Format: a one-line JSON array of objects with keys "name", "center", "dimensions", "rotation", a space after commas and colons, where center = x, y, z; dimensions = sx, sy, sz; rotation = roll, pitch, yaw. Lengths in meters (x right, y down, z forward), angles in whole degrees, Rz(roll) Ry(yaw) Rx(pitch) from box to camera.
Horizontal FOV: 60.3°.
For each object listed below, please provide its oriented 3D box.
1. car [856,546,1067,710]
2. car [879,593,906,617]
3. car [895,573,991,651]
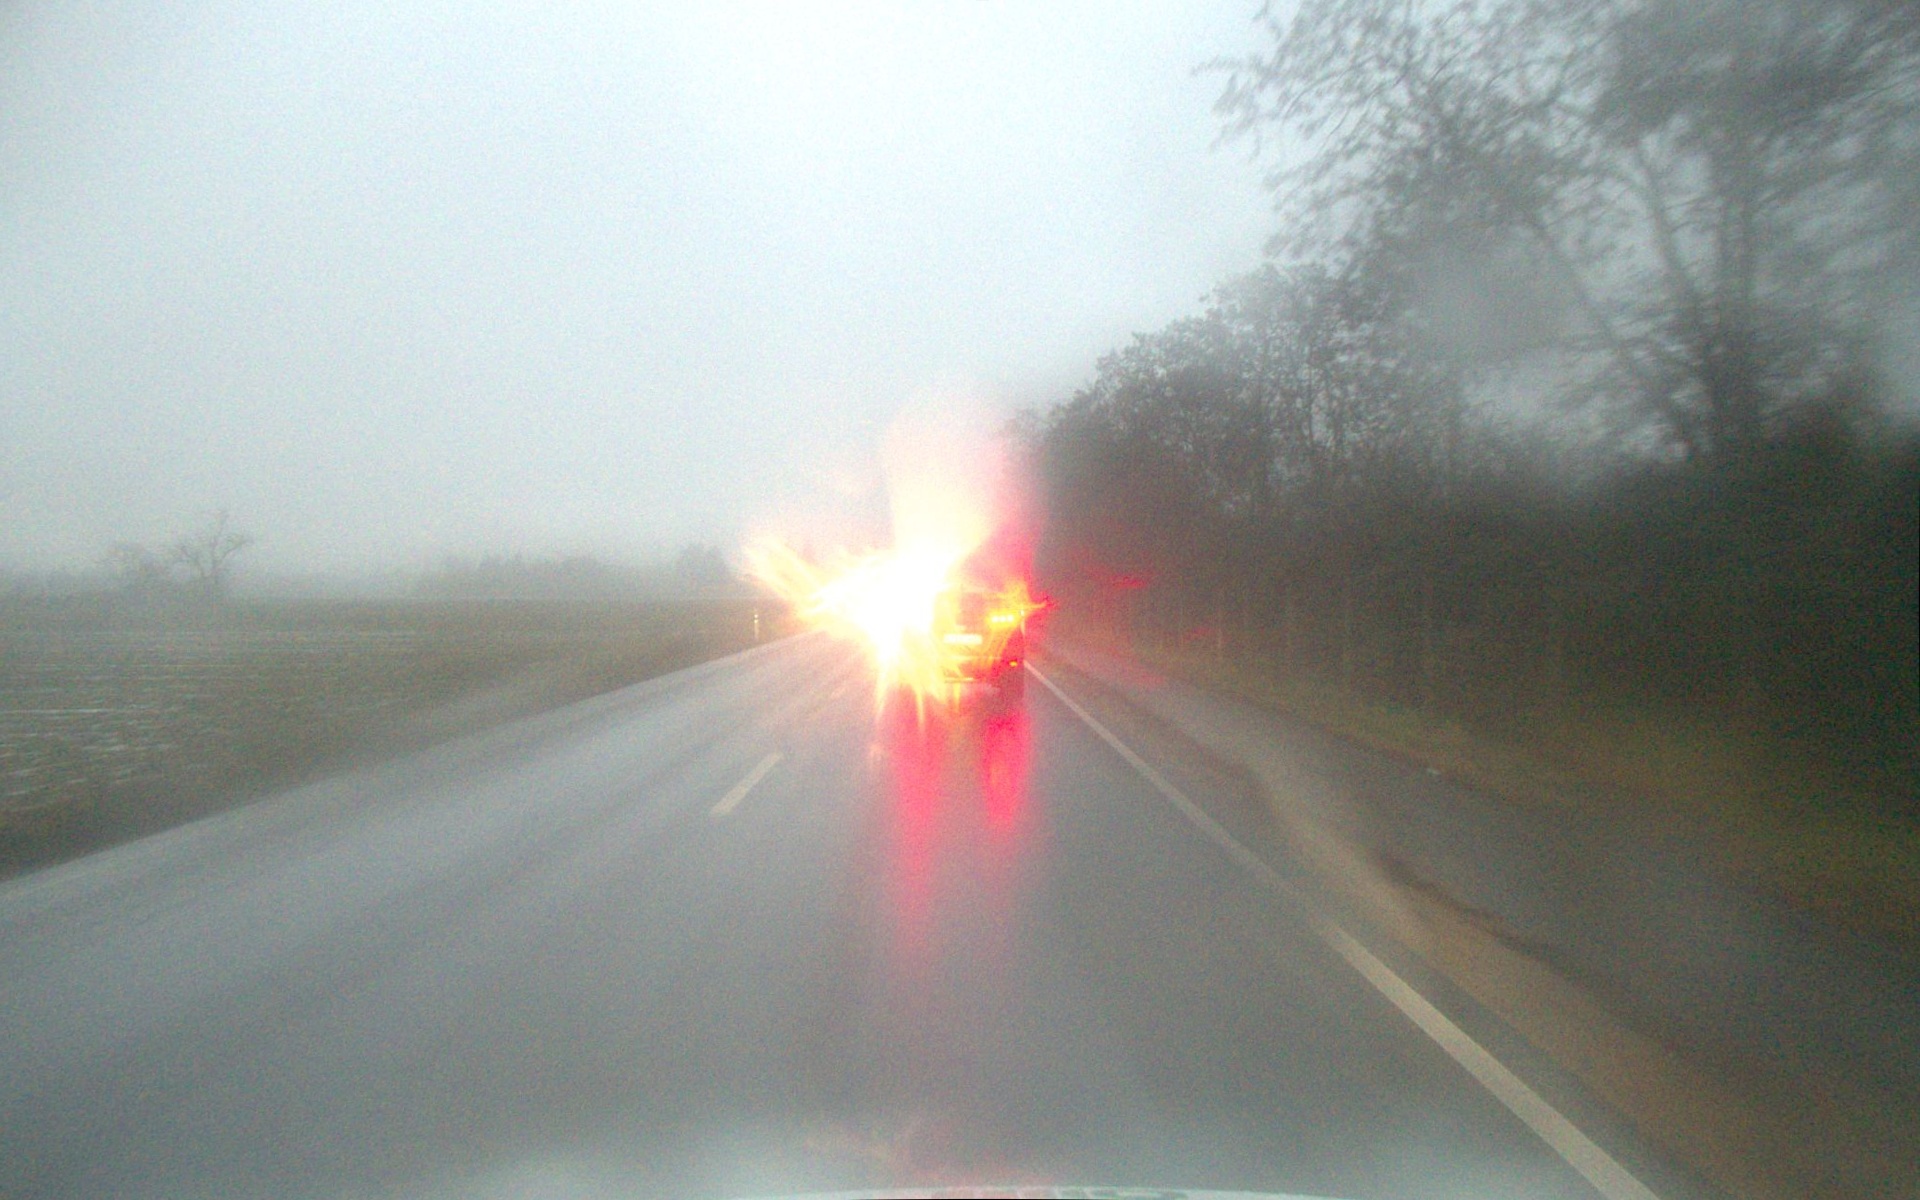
[{"name": "car", "center": [0.026, 0.374, 24.919], "dimensions": [2.762, 2.113, 5.804], "rotation": [1, 0, 0]}, {"name": "car", "center": [-4.437, 0.314, 109.375], "dimensions": [1.693, 1.438, 4.022], "rotation": [-3, 0, -1]}, {"name": "car", "center": [-0.449, 0.327, 47.505], "dimensions": [2.539, 2.049, 5.804], "rotation": [1, 0, 0]}]
